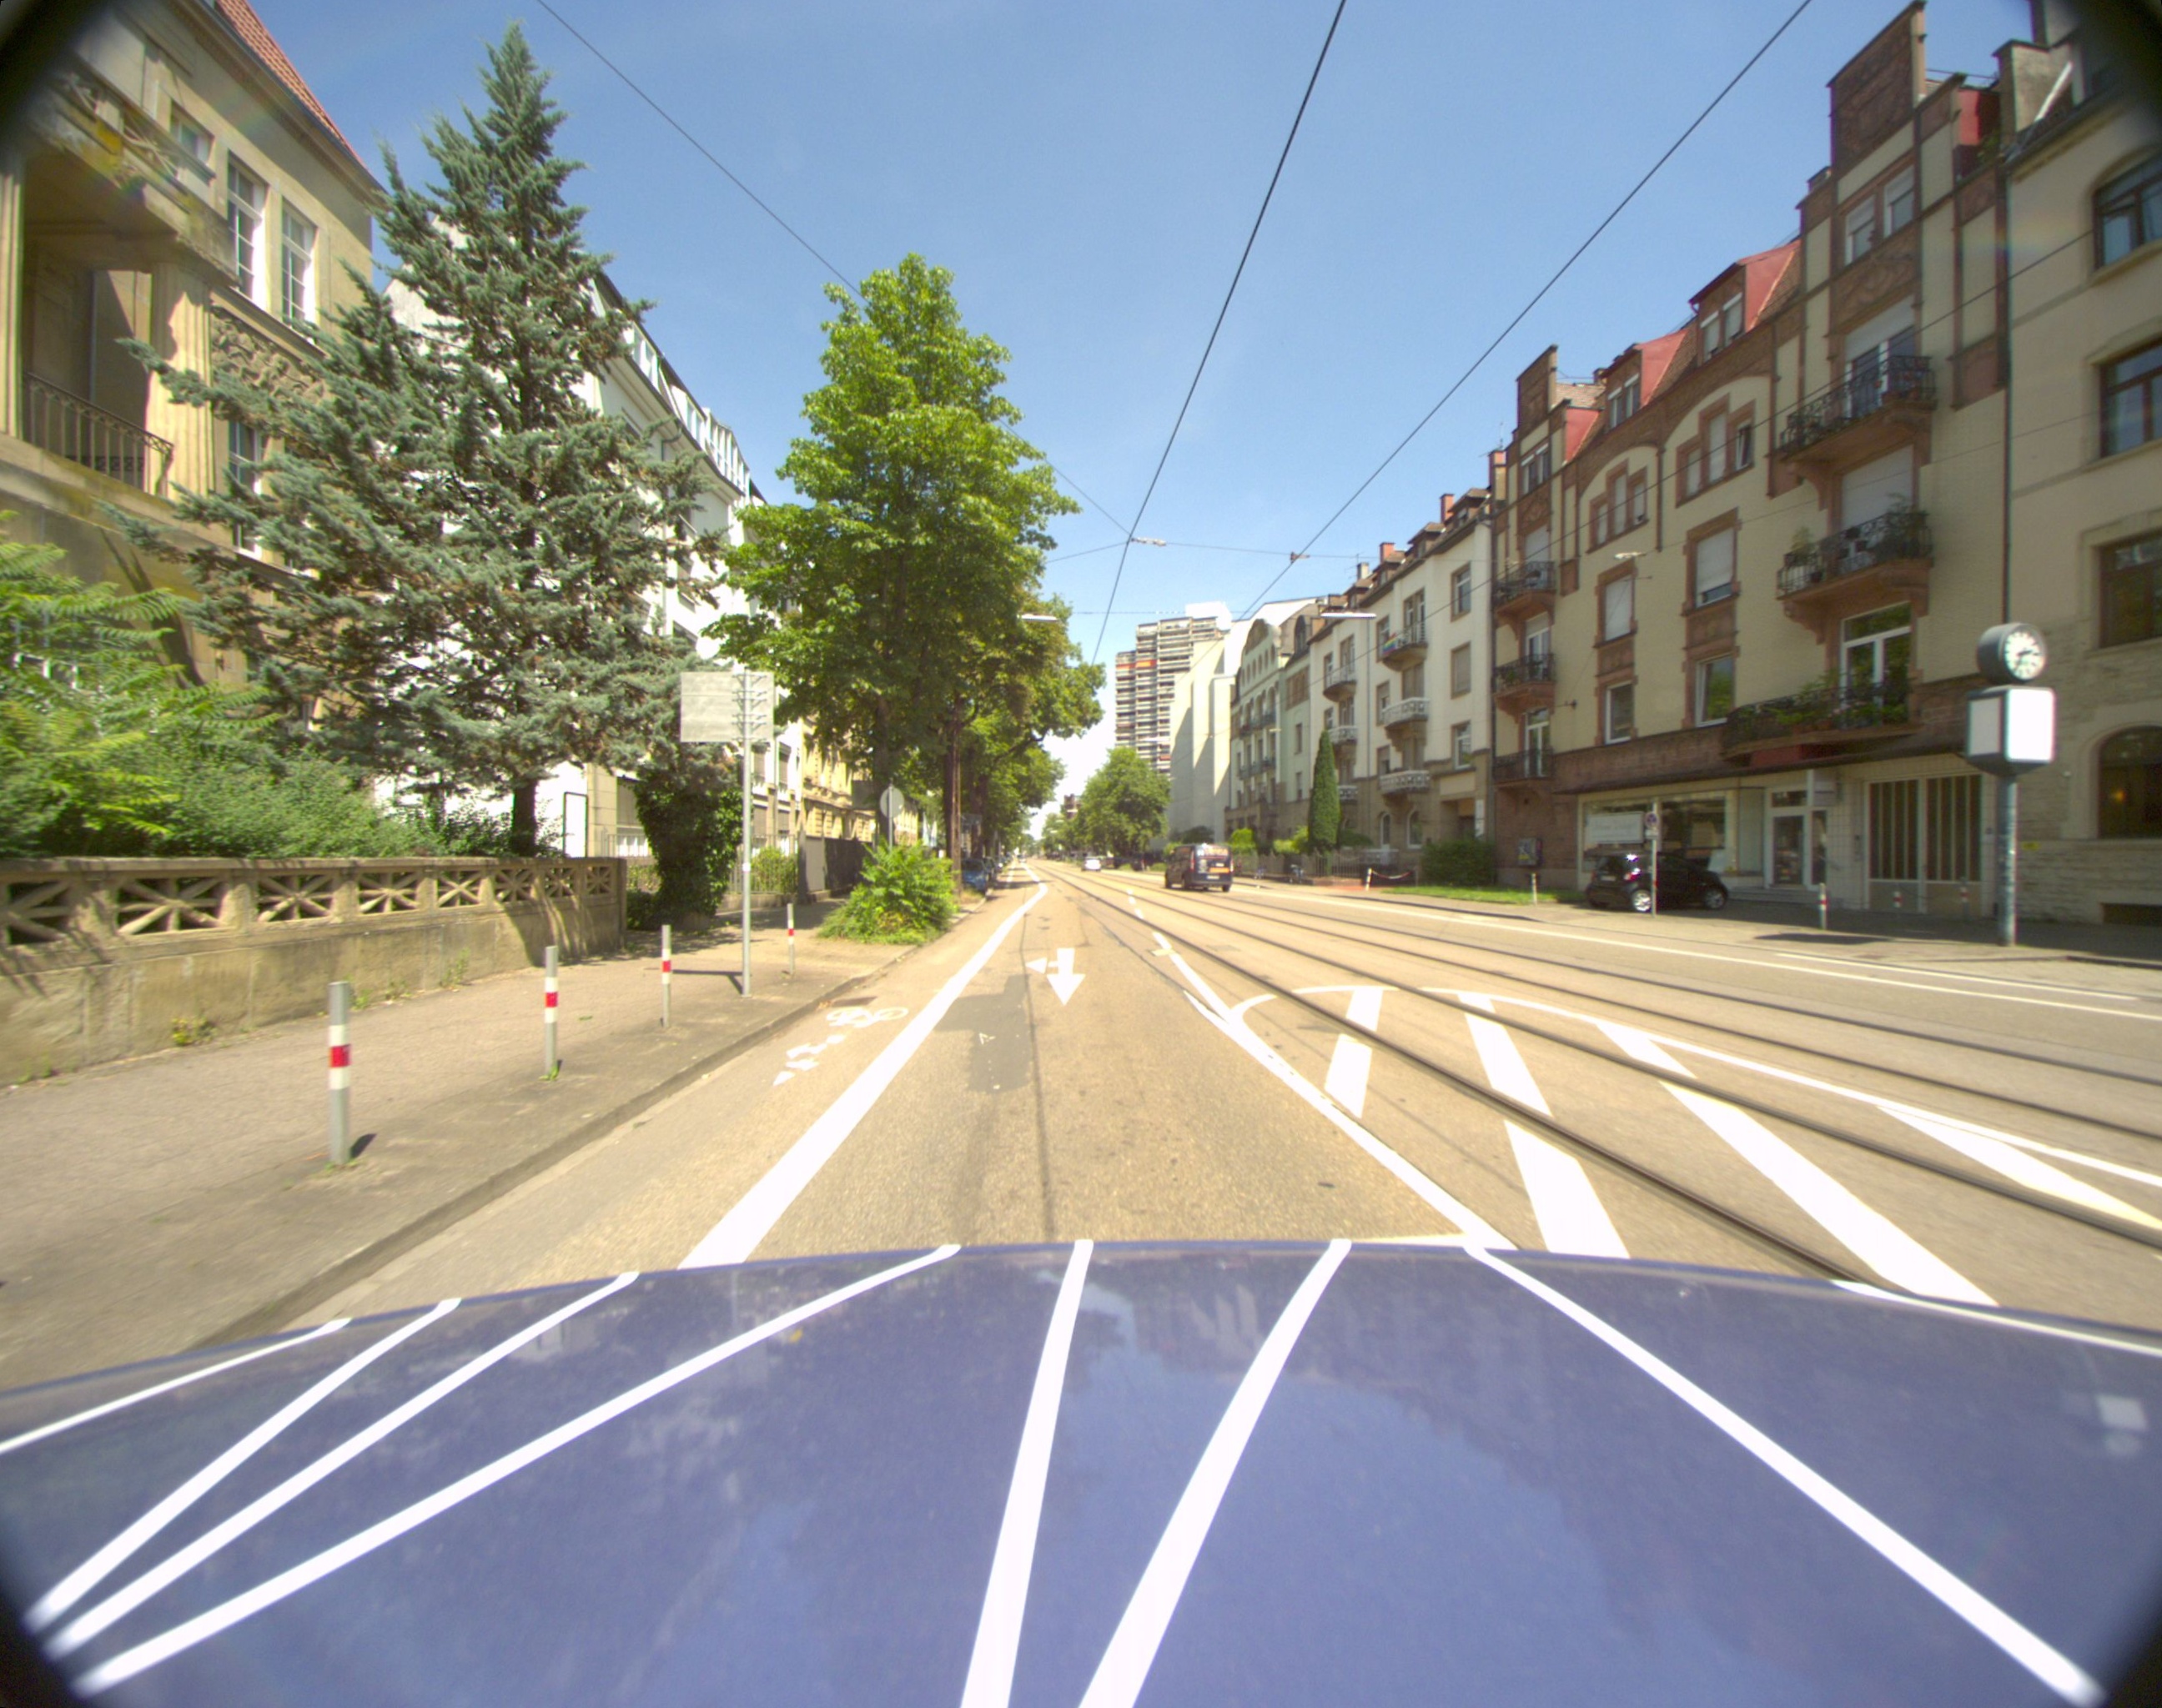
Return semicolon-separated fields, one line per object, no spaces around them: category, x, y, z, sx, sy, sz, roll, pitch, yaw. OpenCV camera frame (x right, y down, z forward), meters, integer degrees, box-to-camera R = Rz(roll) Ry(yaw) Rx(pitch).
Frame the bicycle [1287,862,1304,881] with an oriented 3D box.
bicycle;10.619;0.835;37.641;0.253;0.911;1.614;-1;0;-5

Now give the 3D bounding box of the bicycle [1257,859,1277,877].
bicycle;10.276;0.747;41.988;0.463;0.943;1.953;-1;0;-5

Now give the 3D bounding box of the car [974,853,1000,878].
car;-6.261;0.745;51.030;1.615;1.488;3.580;2;1;-6

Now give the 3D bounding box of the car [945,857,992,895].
car;-4.766;0.907;32.637;1.688;1.453;3.998;2;0;-4

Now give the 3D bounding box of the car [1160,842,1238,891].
car;4.999;0.465;32.902;1.850;1.926;4.818;2;0;-10

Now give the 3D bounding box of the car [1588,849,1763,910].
car;15.358;0.648;19.733;3.362;1.463;1.529;-1;0;-1

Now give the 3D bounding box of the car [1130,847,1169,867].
car;6.970;0.274;76.986;3.916;1.958;1.908;-1;1;-45

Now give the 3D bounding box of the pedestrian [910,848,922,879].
pedestrian;-9.019;0.529;41.469;0.547;1.683;0.755;1;1;-5

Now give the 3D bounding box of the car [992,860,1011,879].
car;-7.187;1.397;68.948;1.648;1.587;4.113;2;-1;-6

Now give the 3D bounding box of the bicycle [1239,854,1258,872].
bicycle;10.129;0.536;45.980;0.493;1.090;2.046;-1;0;-5

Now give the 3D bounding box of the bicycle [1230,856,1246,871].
bicycle;9.953;0.603;48.201;0.400;0.965;2.046;-1;0;-5

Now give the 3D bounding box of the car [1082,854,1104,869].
car;1.167;0.752;75.258;1.713;1.404;3.822;2;0;-7

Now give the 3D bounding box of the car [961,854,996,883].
car;-5.738;0.762;42.756;1.682;1.488;3.917;2;0;-5
